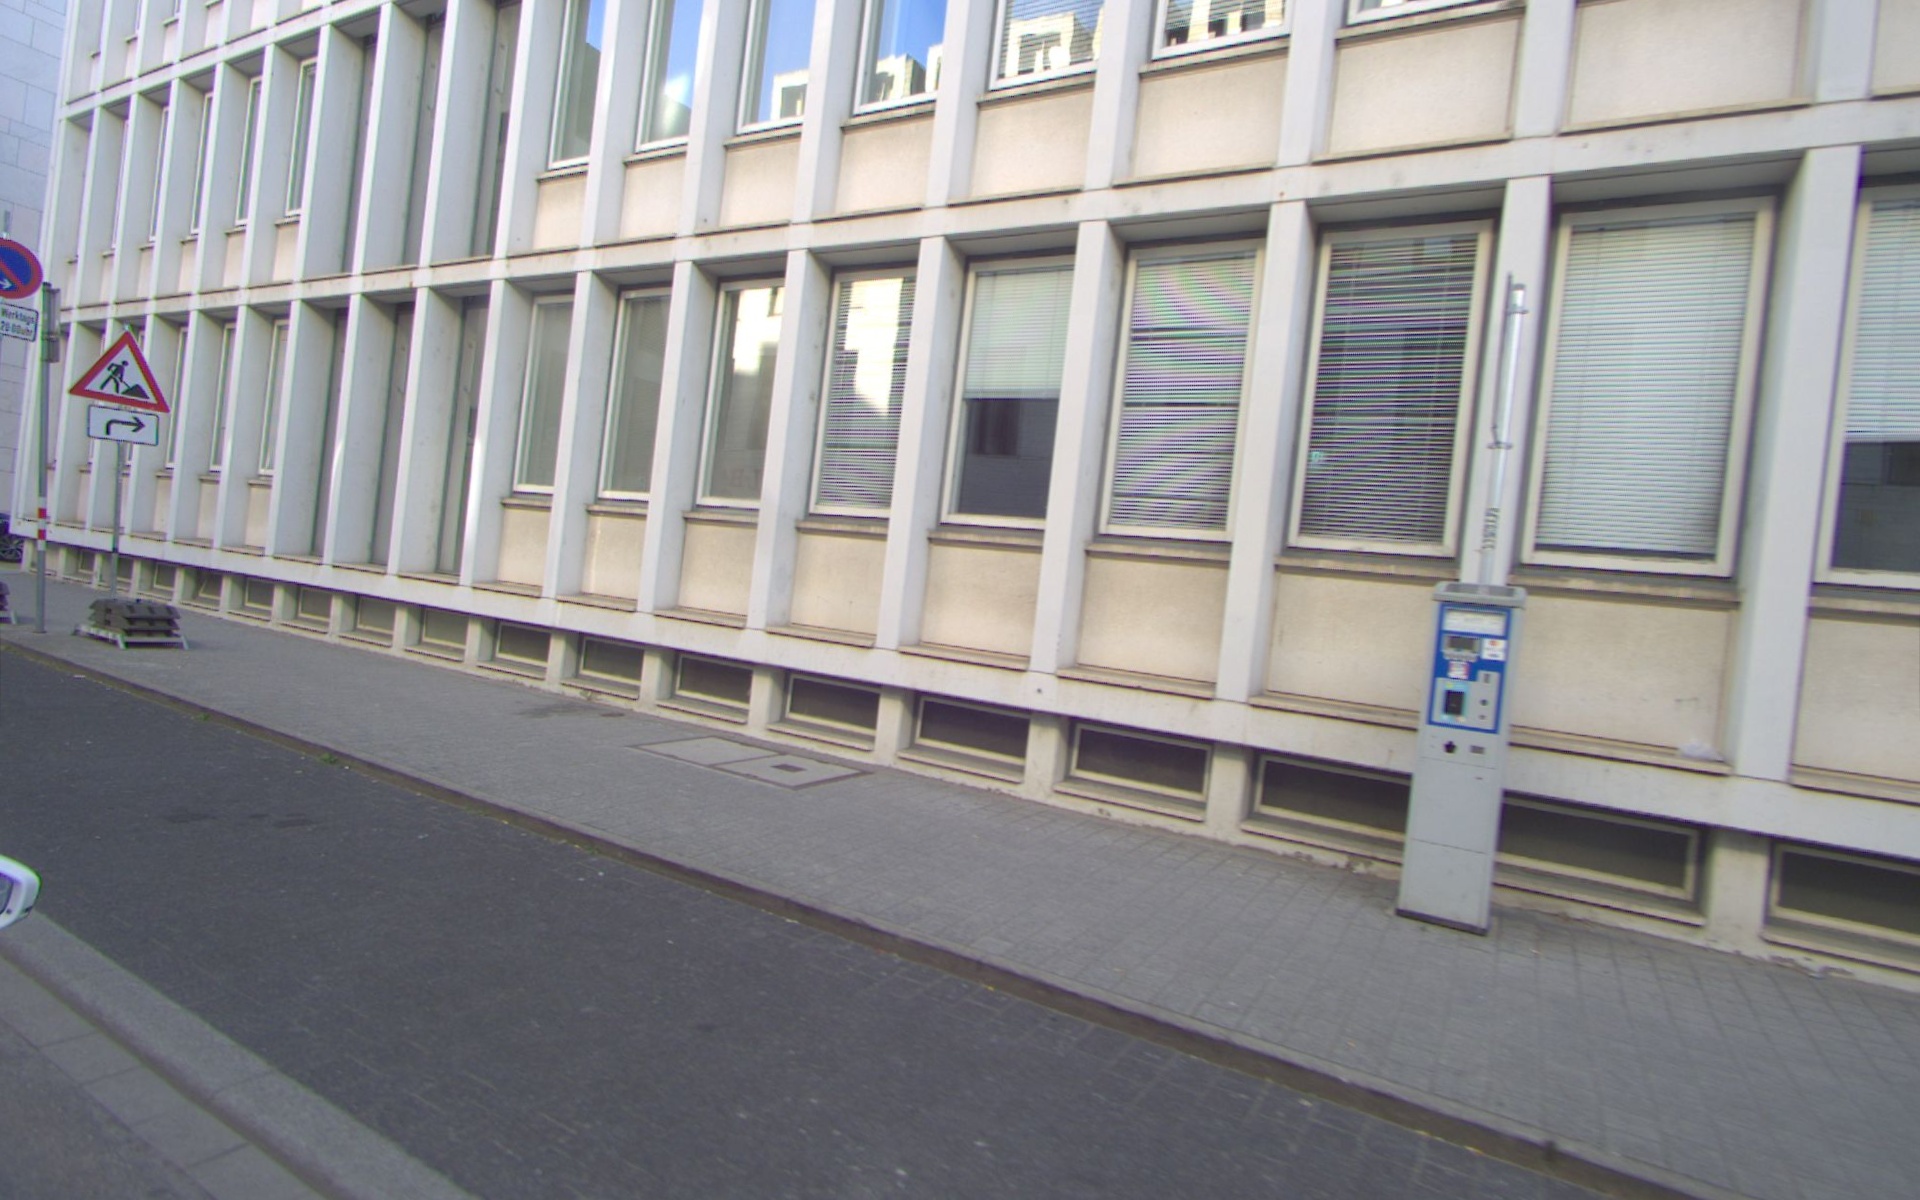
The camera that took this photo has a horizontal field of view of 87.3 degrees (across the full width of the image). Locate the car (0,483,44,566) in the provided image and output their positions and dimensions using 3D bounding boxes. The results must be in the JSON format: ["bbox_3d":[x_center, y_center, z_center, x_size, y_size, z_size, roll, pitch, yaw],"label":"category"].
[{"bbox_3d":[-20.020,-1.657,18.530,1.793,1.560,4.366,8,0,10],"label":"car"}]
